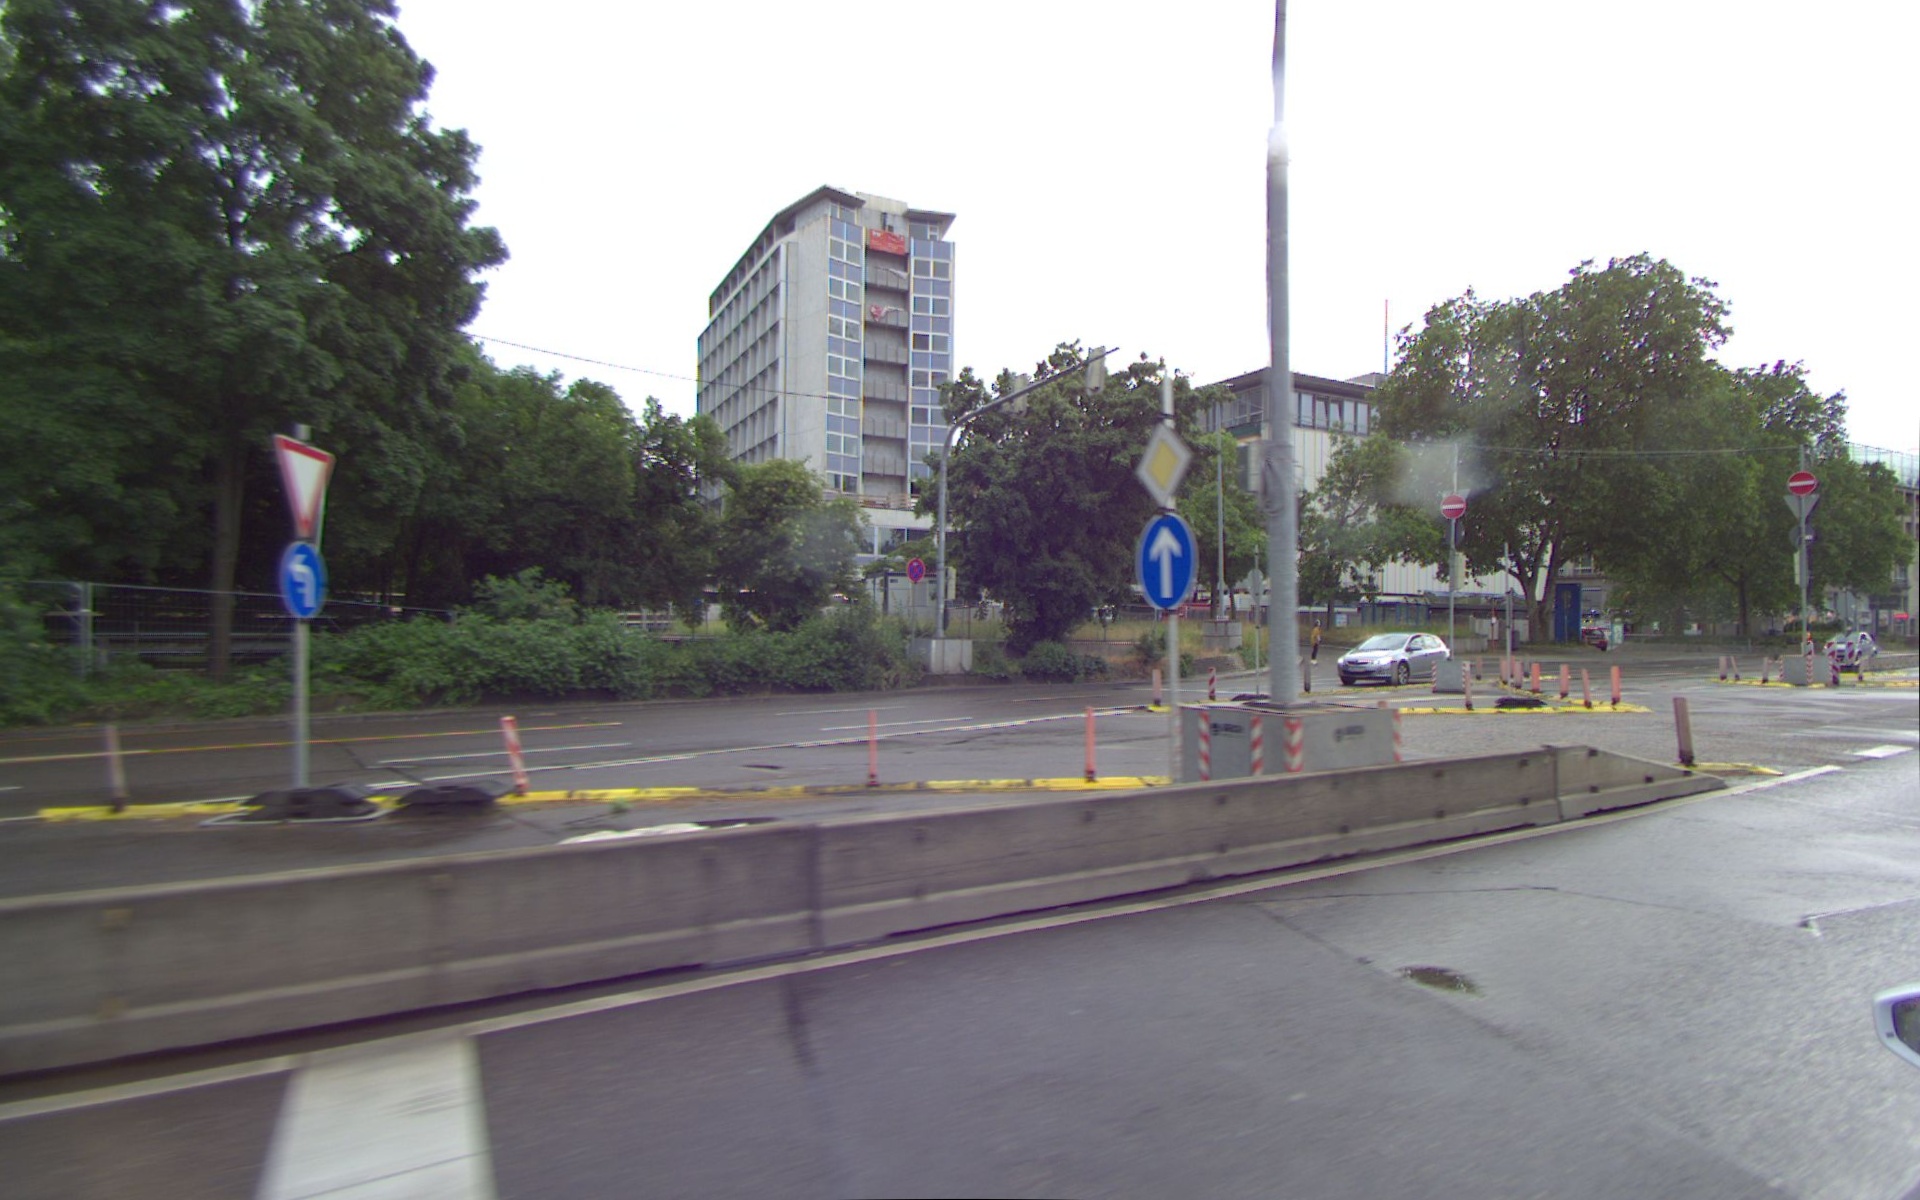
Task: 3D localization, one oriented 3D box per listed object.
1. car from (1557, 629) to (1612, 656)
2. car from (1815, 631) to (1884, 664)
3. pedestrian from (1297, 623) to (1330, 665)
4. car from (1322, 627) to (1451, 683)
[{"bbox_3d":[39.982,2.722,64.386,1.870,1.547,4.009,0,-4,15],"label":"car"},{"bbox_3d":[46.504,2.506,52.514,4.139,1.547,1.889,5,-5,-37],"label":"car"},{"bbox_3d":[13.670,1.725,38.836,1.096,1.577,0.587,3,-4,-17],"label":"pedestrian"},{"bbox_3d":[12.300,1.583,28.862,4.145,1.482,1.751,2,-5,-41],"label":"car"}]
